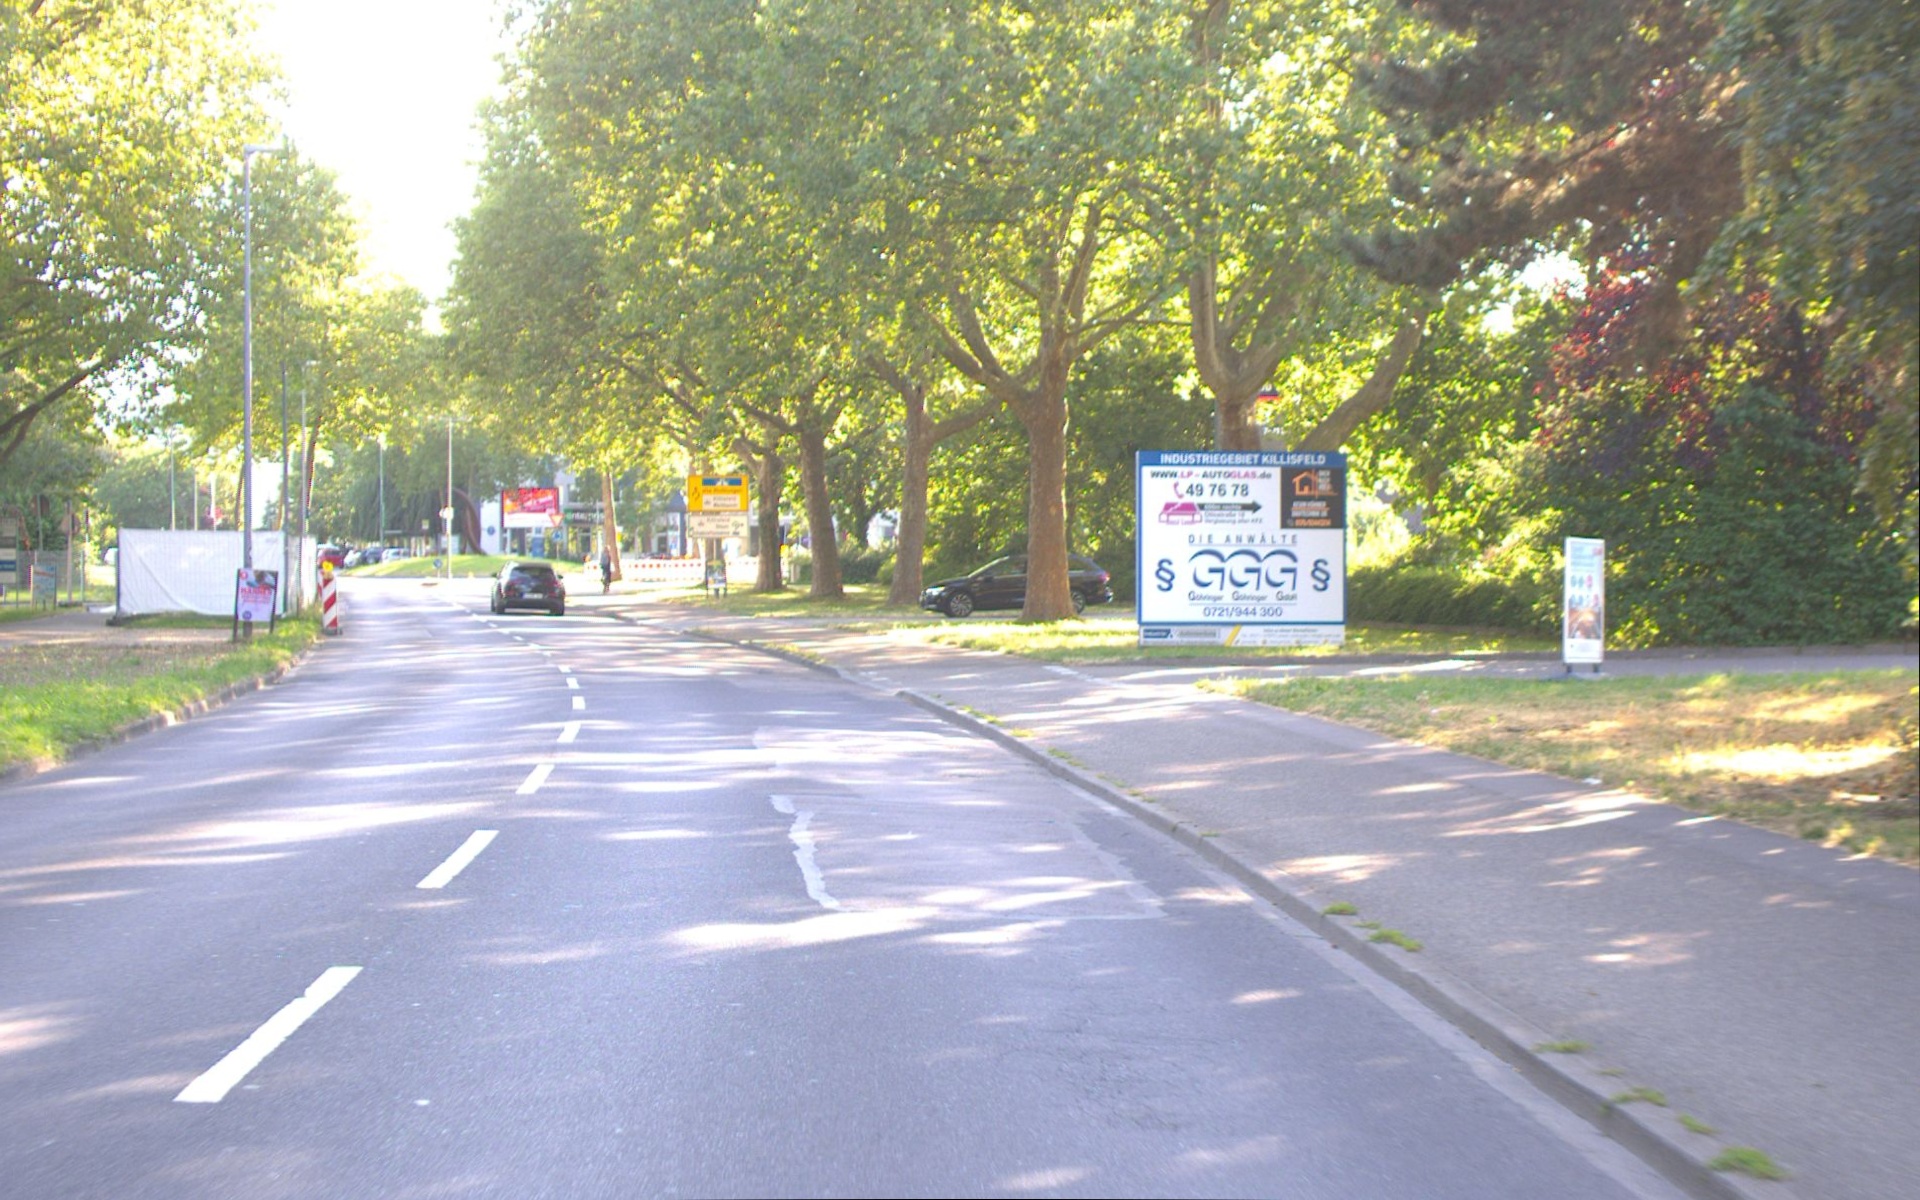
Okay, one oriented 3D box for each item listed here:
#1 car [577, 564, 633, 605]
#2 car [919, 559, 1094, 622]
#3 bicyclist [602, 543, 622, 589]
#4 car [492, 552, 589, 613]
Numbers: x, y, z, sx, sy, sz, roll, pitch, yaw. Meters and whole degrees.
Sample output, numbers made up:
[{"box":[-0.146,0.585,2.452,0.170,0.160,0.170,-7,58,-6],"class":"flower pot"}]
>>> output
[{"box":[-17.846,-0.777,172.956,1.994,2.007,3.999,0,1,7],"class":"car"},{"box":[1.100,-0.236,82.463,3.986,1.438,1.761,-1,0,-7],"class":"car"},{"box":[-13.085,-1.291,129.093,0.650,1.699,0.871,1,0,-9],"class":"bicyclist"},{"box":[-11.196,-0.471,91.971,1.839,1.600,3.862,0,0,4],"class":"car"}]
